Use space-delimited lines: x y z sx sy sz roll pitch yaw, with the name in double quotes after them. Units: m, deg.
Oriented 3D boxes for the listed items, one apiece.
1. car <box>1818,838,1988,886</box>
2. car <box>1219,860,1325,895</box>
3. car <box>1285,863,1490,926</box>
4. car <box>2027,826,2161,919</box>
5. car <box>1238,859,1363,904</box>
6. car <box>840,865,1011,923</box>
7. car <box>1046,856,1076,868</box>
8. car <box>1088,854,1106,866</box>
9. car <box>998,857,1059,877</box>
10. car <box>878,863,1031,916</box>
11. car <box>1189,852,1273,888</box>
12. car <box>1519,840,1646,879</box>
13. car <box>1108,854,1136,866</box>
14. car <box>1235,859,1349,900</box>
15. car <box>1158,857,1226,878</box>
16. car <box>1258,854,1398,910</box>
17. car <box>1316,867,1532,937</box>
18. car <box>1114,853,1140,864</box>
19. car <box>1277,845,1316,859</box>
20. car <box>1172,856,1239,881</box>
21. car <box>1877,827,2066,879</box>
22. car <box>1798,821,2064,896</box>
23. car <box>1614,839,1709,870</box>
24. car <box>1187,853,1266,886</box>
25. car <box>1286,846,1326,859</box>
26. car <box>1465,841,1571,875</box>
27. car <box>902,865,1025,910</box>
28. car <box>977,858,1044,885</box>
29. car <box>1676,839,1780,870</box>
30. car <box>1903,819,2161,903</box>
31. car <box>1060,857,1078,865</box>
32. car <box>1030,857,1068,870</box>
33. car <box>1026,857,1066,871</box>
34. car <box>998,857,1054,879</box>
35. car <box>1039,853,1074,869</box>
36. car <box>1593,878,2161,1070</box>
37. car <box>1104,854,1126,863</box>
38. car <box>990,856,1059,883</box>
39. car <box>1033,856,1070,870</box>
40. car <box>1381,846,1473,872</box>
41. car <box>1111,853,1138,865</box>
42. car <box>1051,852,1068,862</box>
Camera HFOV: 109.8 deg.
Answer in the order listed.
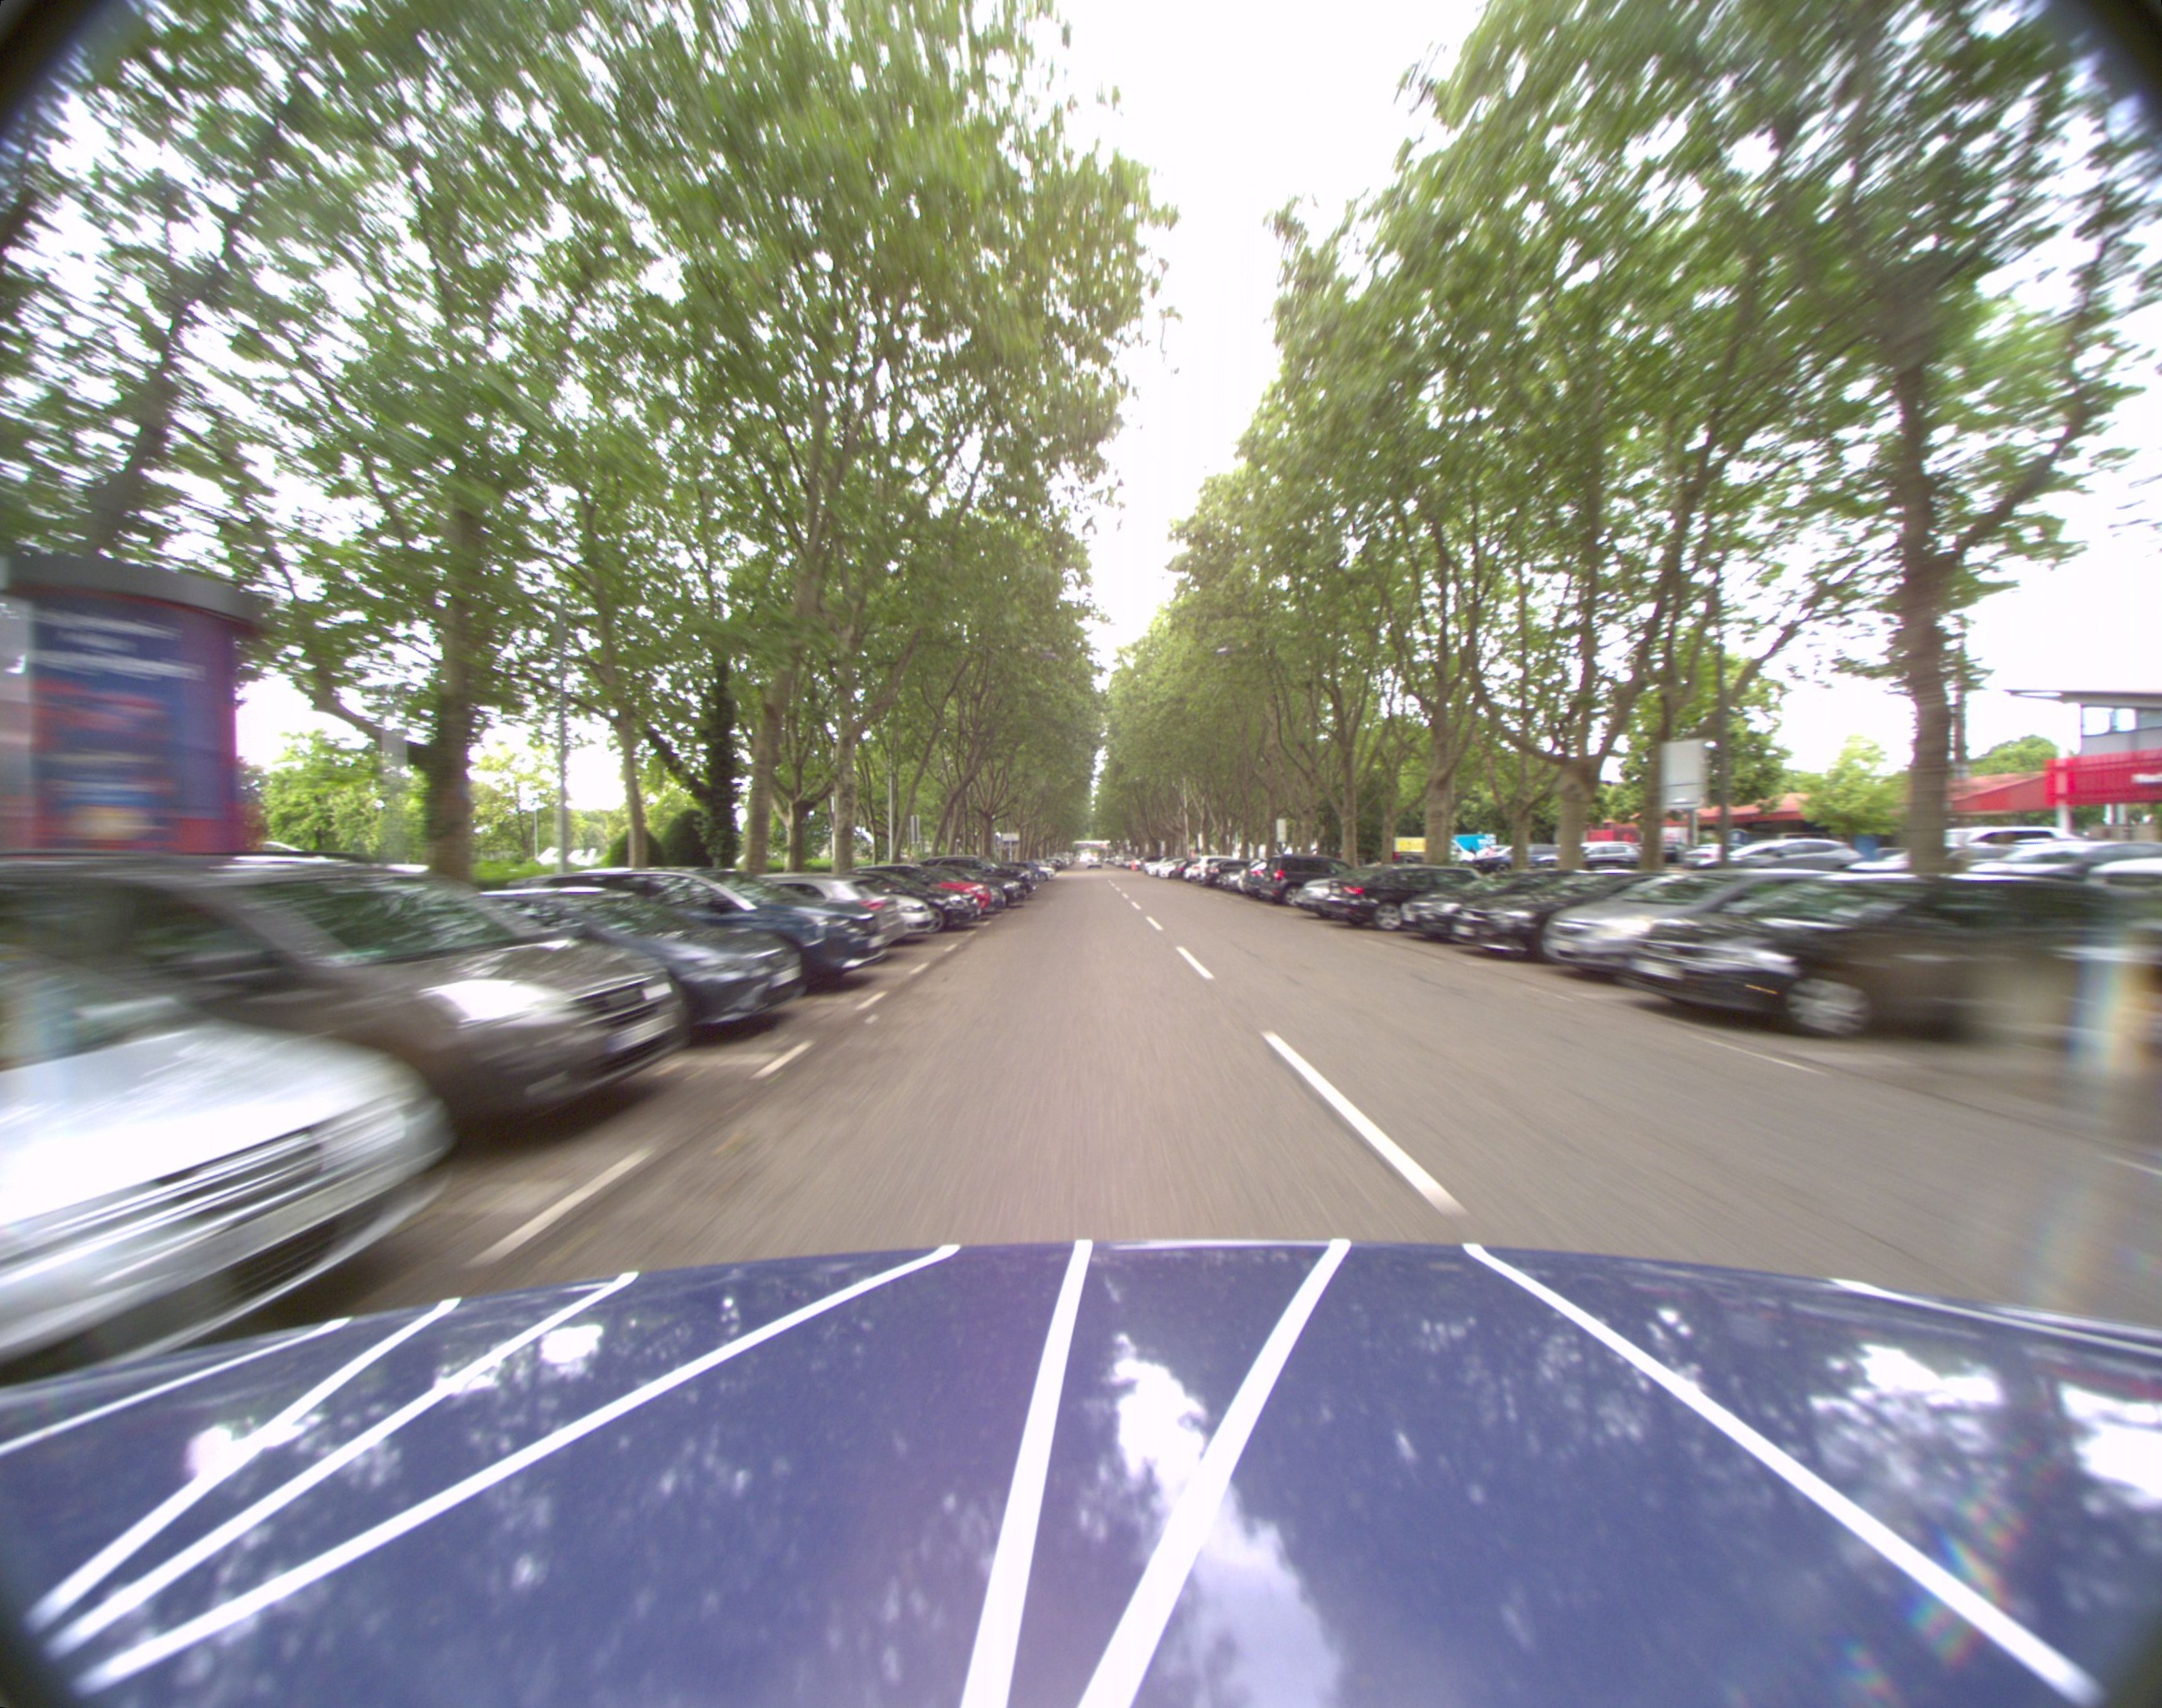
34.690 0.325 32.163 4.955 1.786 2.182 -2 1 -2 "car"
7.947 0.960 31.833 4.003 1.412 1.703 1 0 -1 "car"
7.622 0.989 19.145 4.475 1.473 1.703 1 0 -1 "car"
23.017 0.310 15.463 4.955 1.786 2.183 -1 0 -2 "car"
7.714 0.953 26.988 3.940 1.507 1.728 1 0 2 "car"
-4.422 1.143 22.114 4.506 1.411 1.829 -2 0 2 "car"
-3.377 1.292 128.763 4.674 1.740 2.001 -3 0 5 "car"
2.154 0.811 103.538 1.999 1.375 4.678 -3 0 -2 "car"
-4.119 1.004 59.892 4.598 1.409 1.719 -2 0 4 "car"
-3.970 1.101 24.407 4.506 1.420 1.932 -2 0 1 "car"
7.769 0.809 39.614 3.996 1.672 1.855 -2 1 2 "car"
23.271 0.267 35.370 4.564 1.710 2.000 1 0 -2 "car"
6.878 0.933 126.958 4.491 1.740 2.001 -3 0 5 "car"
8.094 0.968 29.370 4.001 1.477 1.704 0 0 5 "car"
7.882 0.937 54.266 4.421 1.435 2.046 1 0 -5 "car"
7.895 0.869 24.545 3.941 1.698 1.752 1 0 -1 "car"
7.366 1.009 16.586 3.941 1.390 1.703 1 0 -1 "car"
8.223 0.804 136.624 4.491 1.740 2.001 -3 0 5 "car"
34.840 -0.285 122.923 5.466 2.009 2.393 -2 1 -2 "car"
8.001 0.932 49.005 3.996 1.445 1.856 -2 1 2 "car"
34.597 -0.049 29.621 4.955 1.786 2.182 -2 1 -2 "car"
23.089 0.105 20.785 4.955 1.786 2.182 -2 1 -2 "car"
33.388 0.039 43.776 3.998 1.617 1.999 -2 1 -4 "car"
7.983 0.837 42.037 3.996 1.672 1.855 -2 1 2 "car"
35.097 -0.263 118.611 5.467 2.009 2.393 1 0 -2 "car"
23.355 0.221 40.717 4.564 1.710 2.000 1 0 -2 "car"
-4.088 1.162 26.877 3.993 1.382 1.739 -2 0 2 "car"
-4.389 1.084 47.448 4.027 1.439 1.913 -2 0 -5 "car"
35.014 0.006 41.176 4.030 1.542 1.999 -2 1 -4 "car"
23.334 0.120 18.247 4.955 1.786 2.182 -2 1 -2 "car"
-2.756 1.604 174.839 3.998 1.641 1.999 -2 1 -3 "car"
-4.128 1.241 99.543 4.673 1.514 2.001 -3 0 6 "car"
-3.939 1.130 86.159 4.383 1.469 1.999 -2 1 -1 "car"
-3.956 1.013 54.751 3.840 1.409 1.719 -2 0 1 "car"
-3.438 1.006 106.790 4.674 1.891 2.001 -3 0 5 "car"
7.377 1.004 7.059 3.987 1.412 1.756 1 0 4 "car"
7.948 0.989 177.060 4.919 1.816 2.000 -2 -2 -3 "car"
-3.852 1.056 52.352 4.535 1.613 2.054 -2 0 1 "car"
-3.881 1.193 101.838 4.674 1.514 2.001 -3 0 5 "car"
23.917 0.330 52.667 5.362 1.587 2.094 -2 1 -1 "car"
7.600 0.856 133.182 4.491 1.740 2.001 -3 0 5 "car"
-5.135 0.610 181.766 3.997 2.273 2.000 -2 1 1 "car"
